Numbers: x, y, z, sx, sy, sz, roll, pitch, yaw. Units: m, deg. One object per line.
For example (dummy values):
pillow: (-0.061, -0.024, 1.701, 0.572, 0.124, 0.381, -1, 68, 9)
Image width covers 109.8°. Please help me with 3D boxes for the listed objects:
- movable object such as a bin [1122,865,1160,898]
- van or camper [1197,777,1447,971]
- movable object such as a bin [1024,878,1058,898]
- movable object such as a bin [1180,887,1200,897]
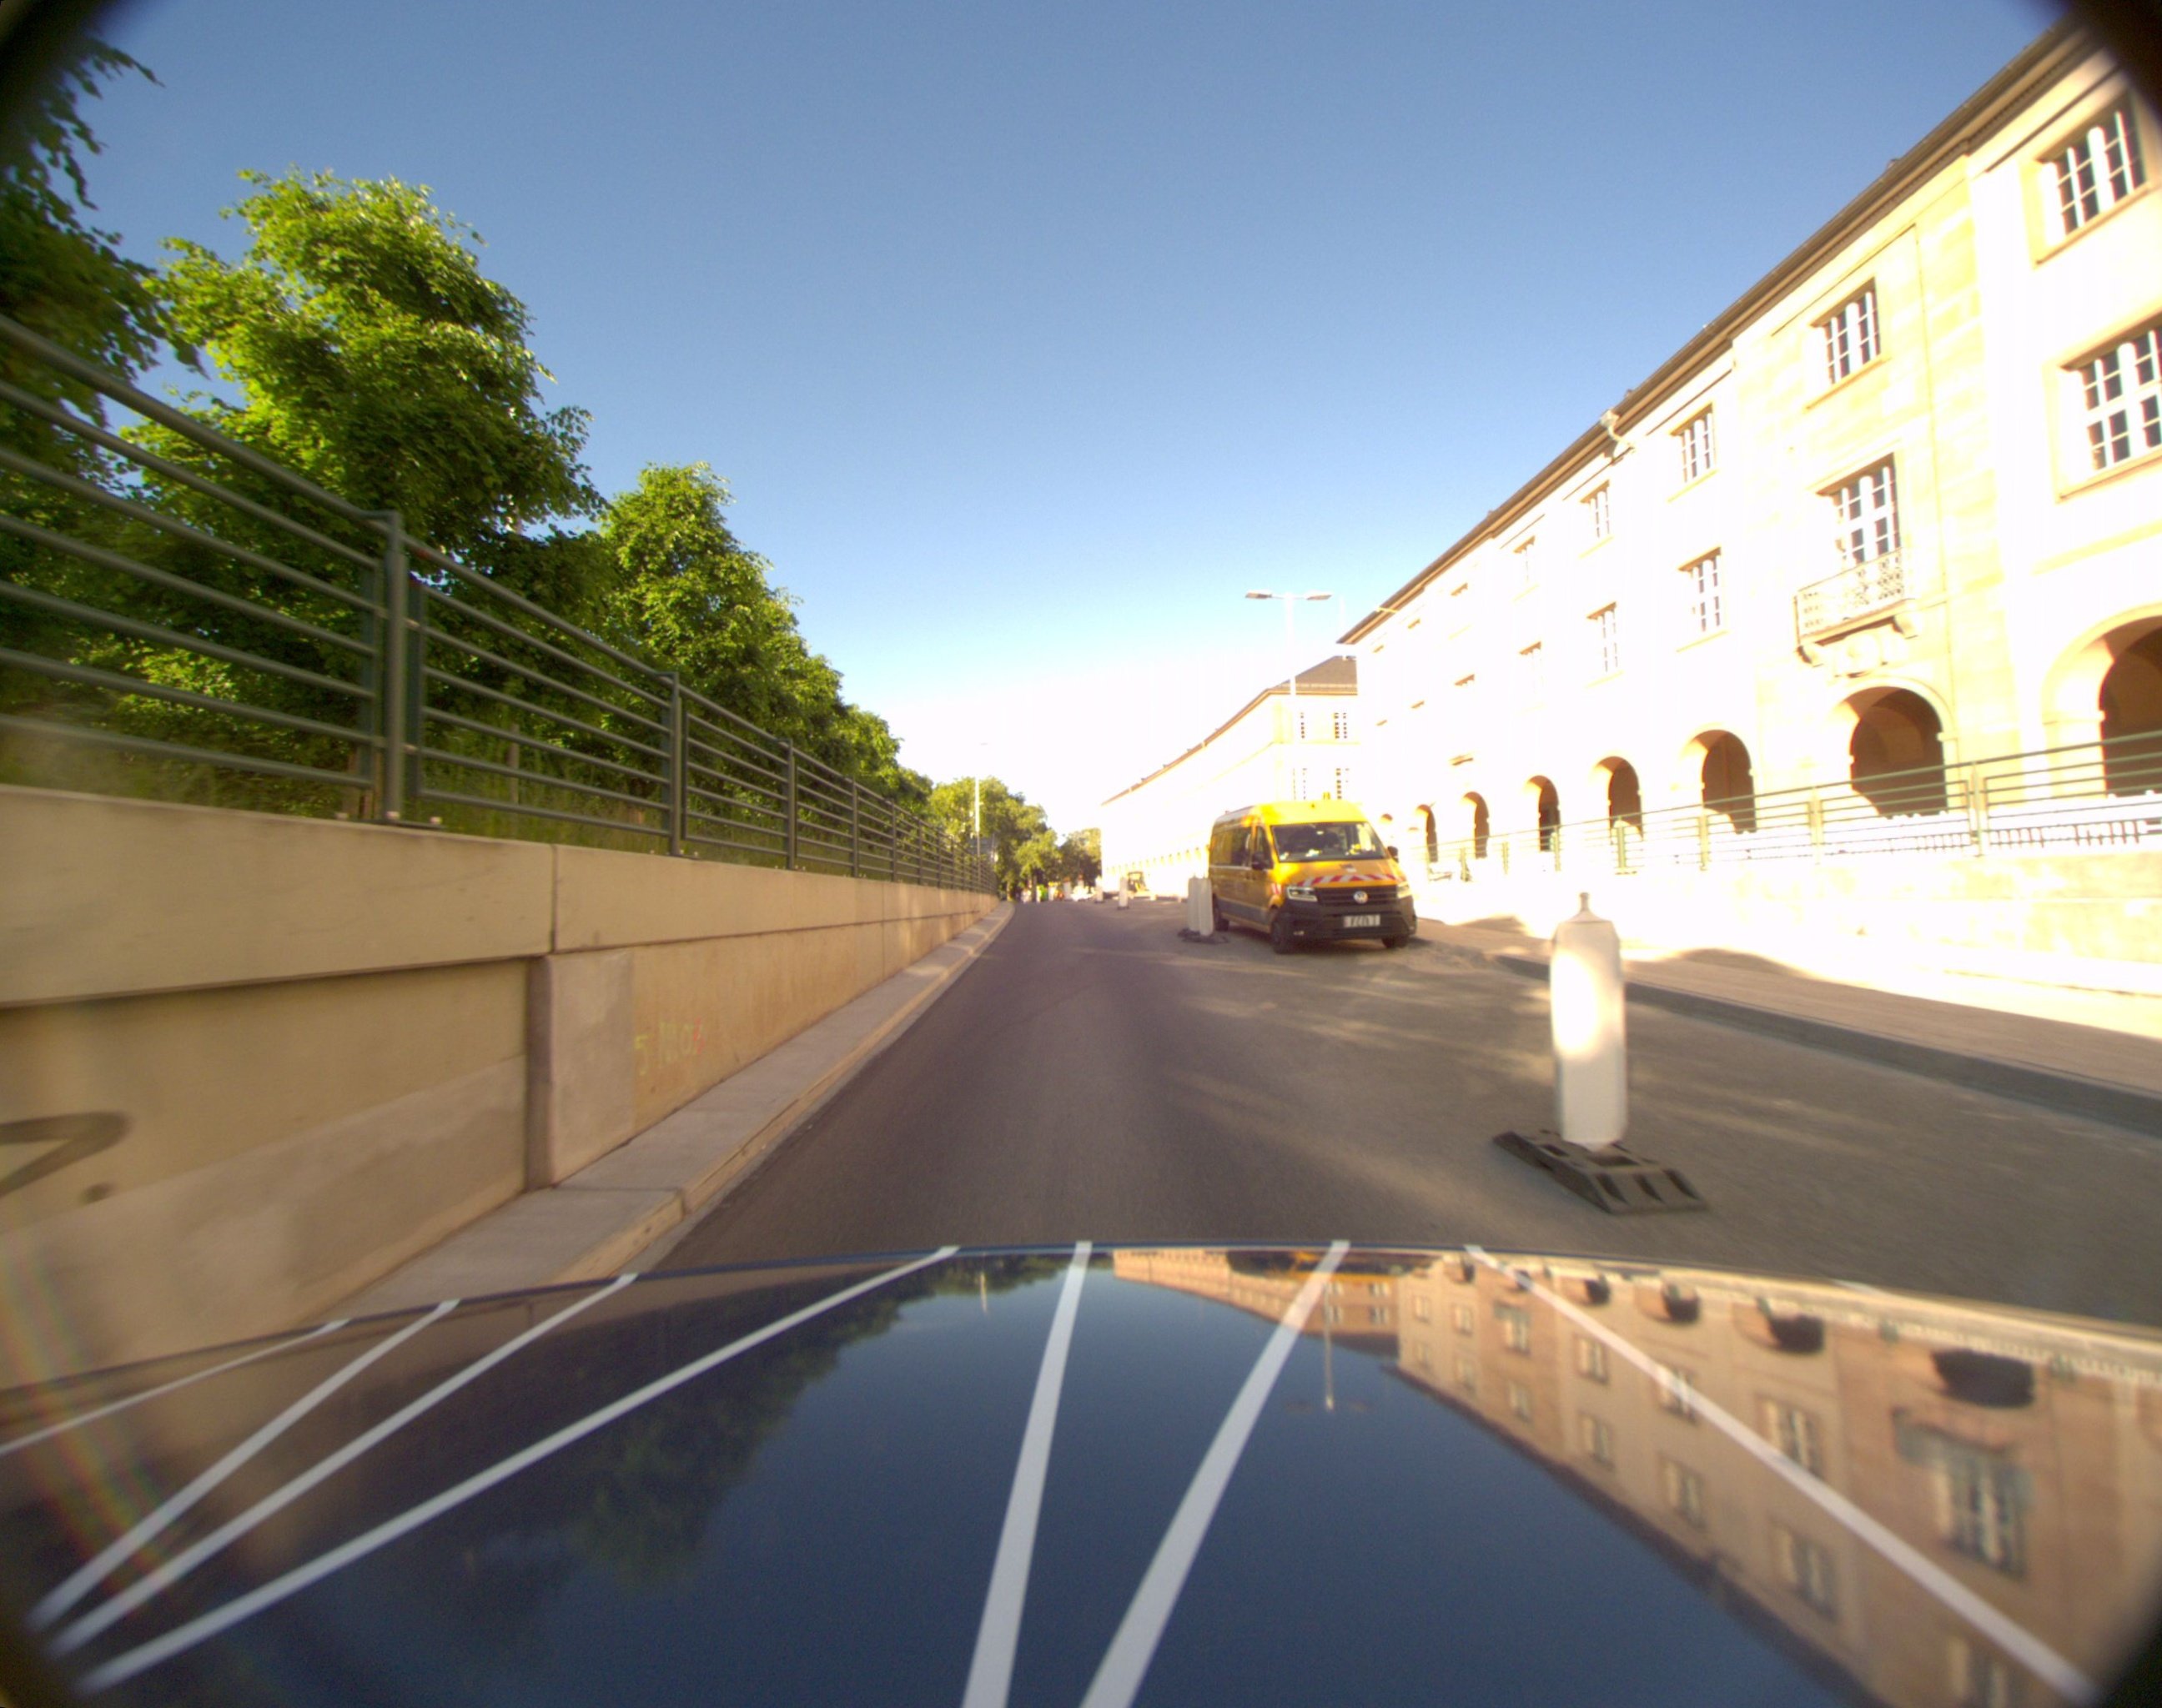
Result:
movable object such as a bin: (4.549, 2.142, 58.370, 1.797, 2.437, 4.535, 0, -3, -10)
van or camper: (3.929, 0.314, 14.130, 2.199, 2.597, 6.824, -4, 0, -1)
movable object such as a bin: (-4.449, 3.767, 83.940, 3.247, 2.064, 2.107, 1, -3, -20)
movable object such as a bin: (8.564, 2.991, 59.684, 1.191, 0.693, 1.240, 0, -3, -9)
